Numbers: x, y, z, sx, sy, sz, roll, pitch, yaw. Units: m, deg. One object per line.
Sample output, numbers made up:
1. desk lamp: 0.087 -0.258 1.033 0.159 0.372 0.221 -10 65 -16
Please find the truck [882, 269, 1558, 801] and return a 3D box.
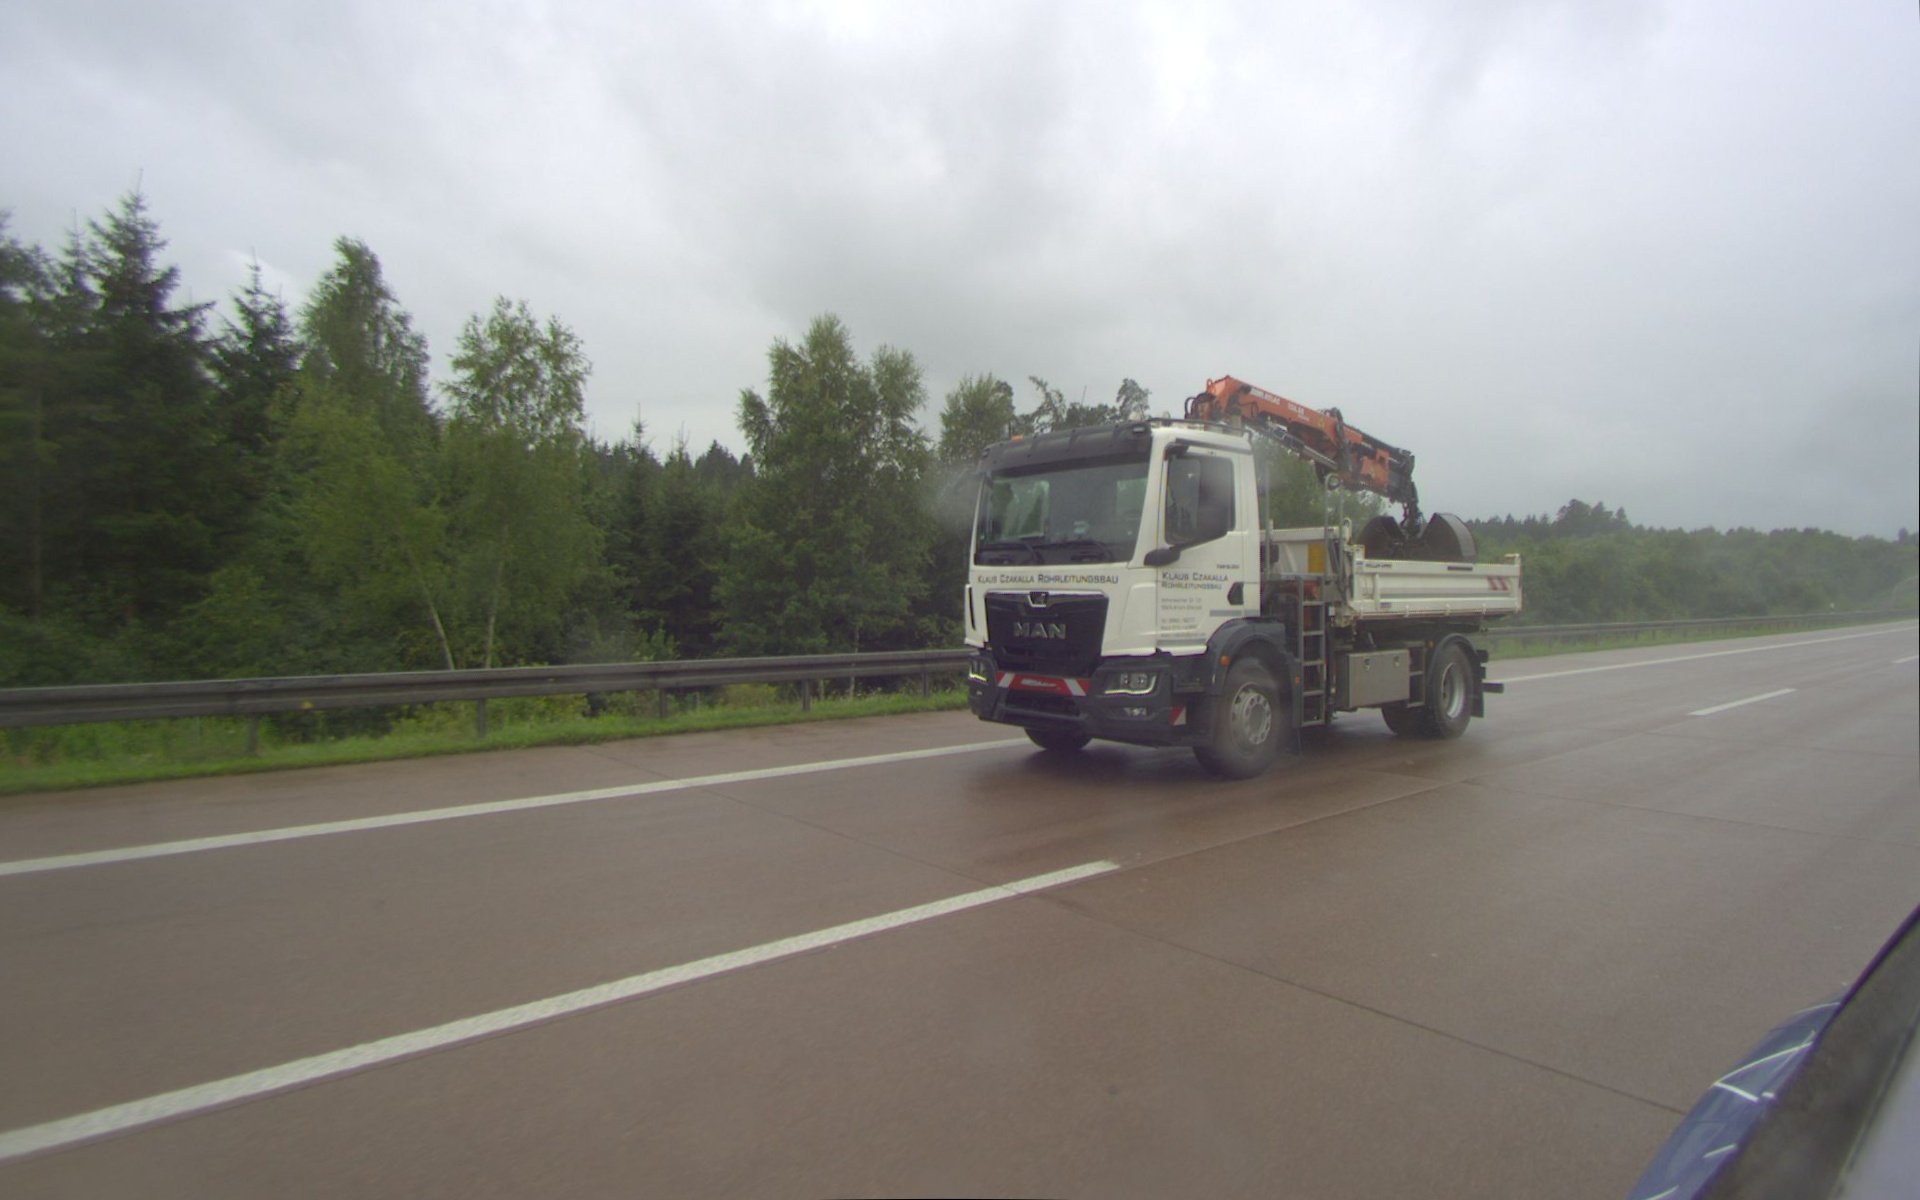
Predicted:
1. truck: 3.251 -0.490 10.973 7.814 3.777 3.240 0 0 -41
